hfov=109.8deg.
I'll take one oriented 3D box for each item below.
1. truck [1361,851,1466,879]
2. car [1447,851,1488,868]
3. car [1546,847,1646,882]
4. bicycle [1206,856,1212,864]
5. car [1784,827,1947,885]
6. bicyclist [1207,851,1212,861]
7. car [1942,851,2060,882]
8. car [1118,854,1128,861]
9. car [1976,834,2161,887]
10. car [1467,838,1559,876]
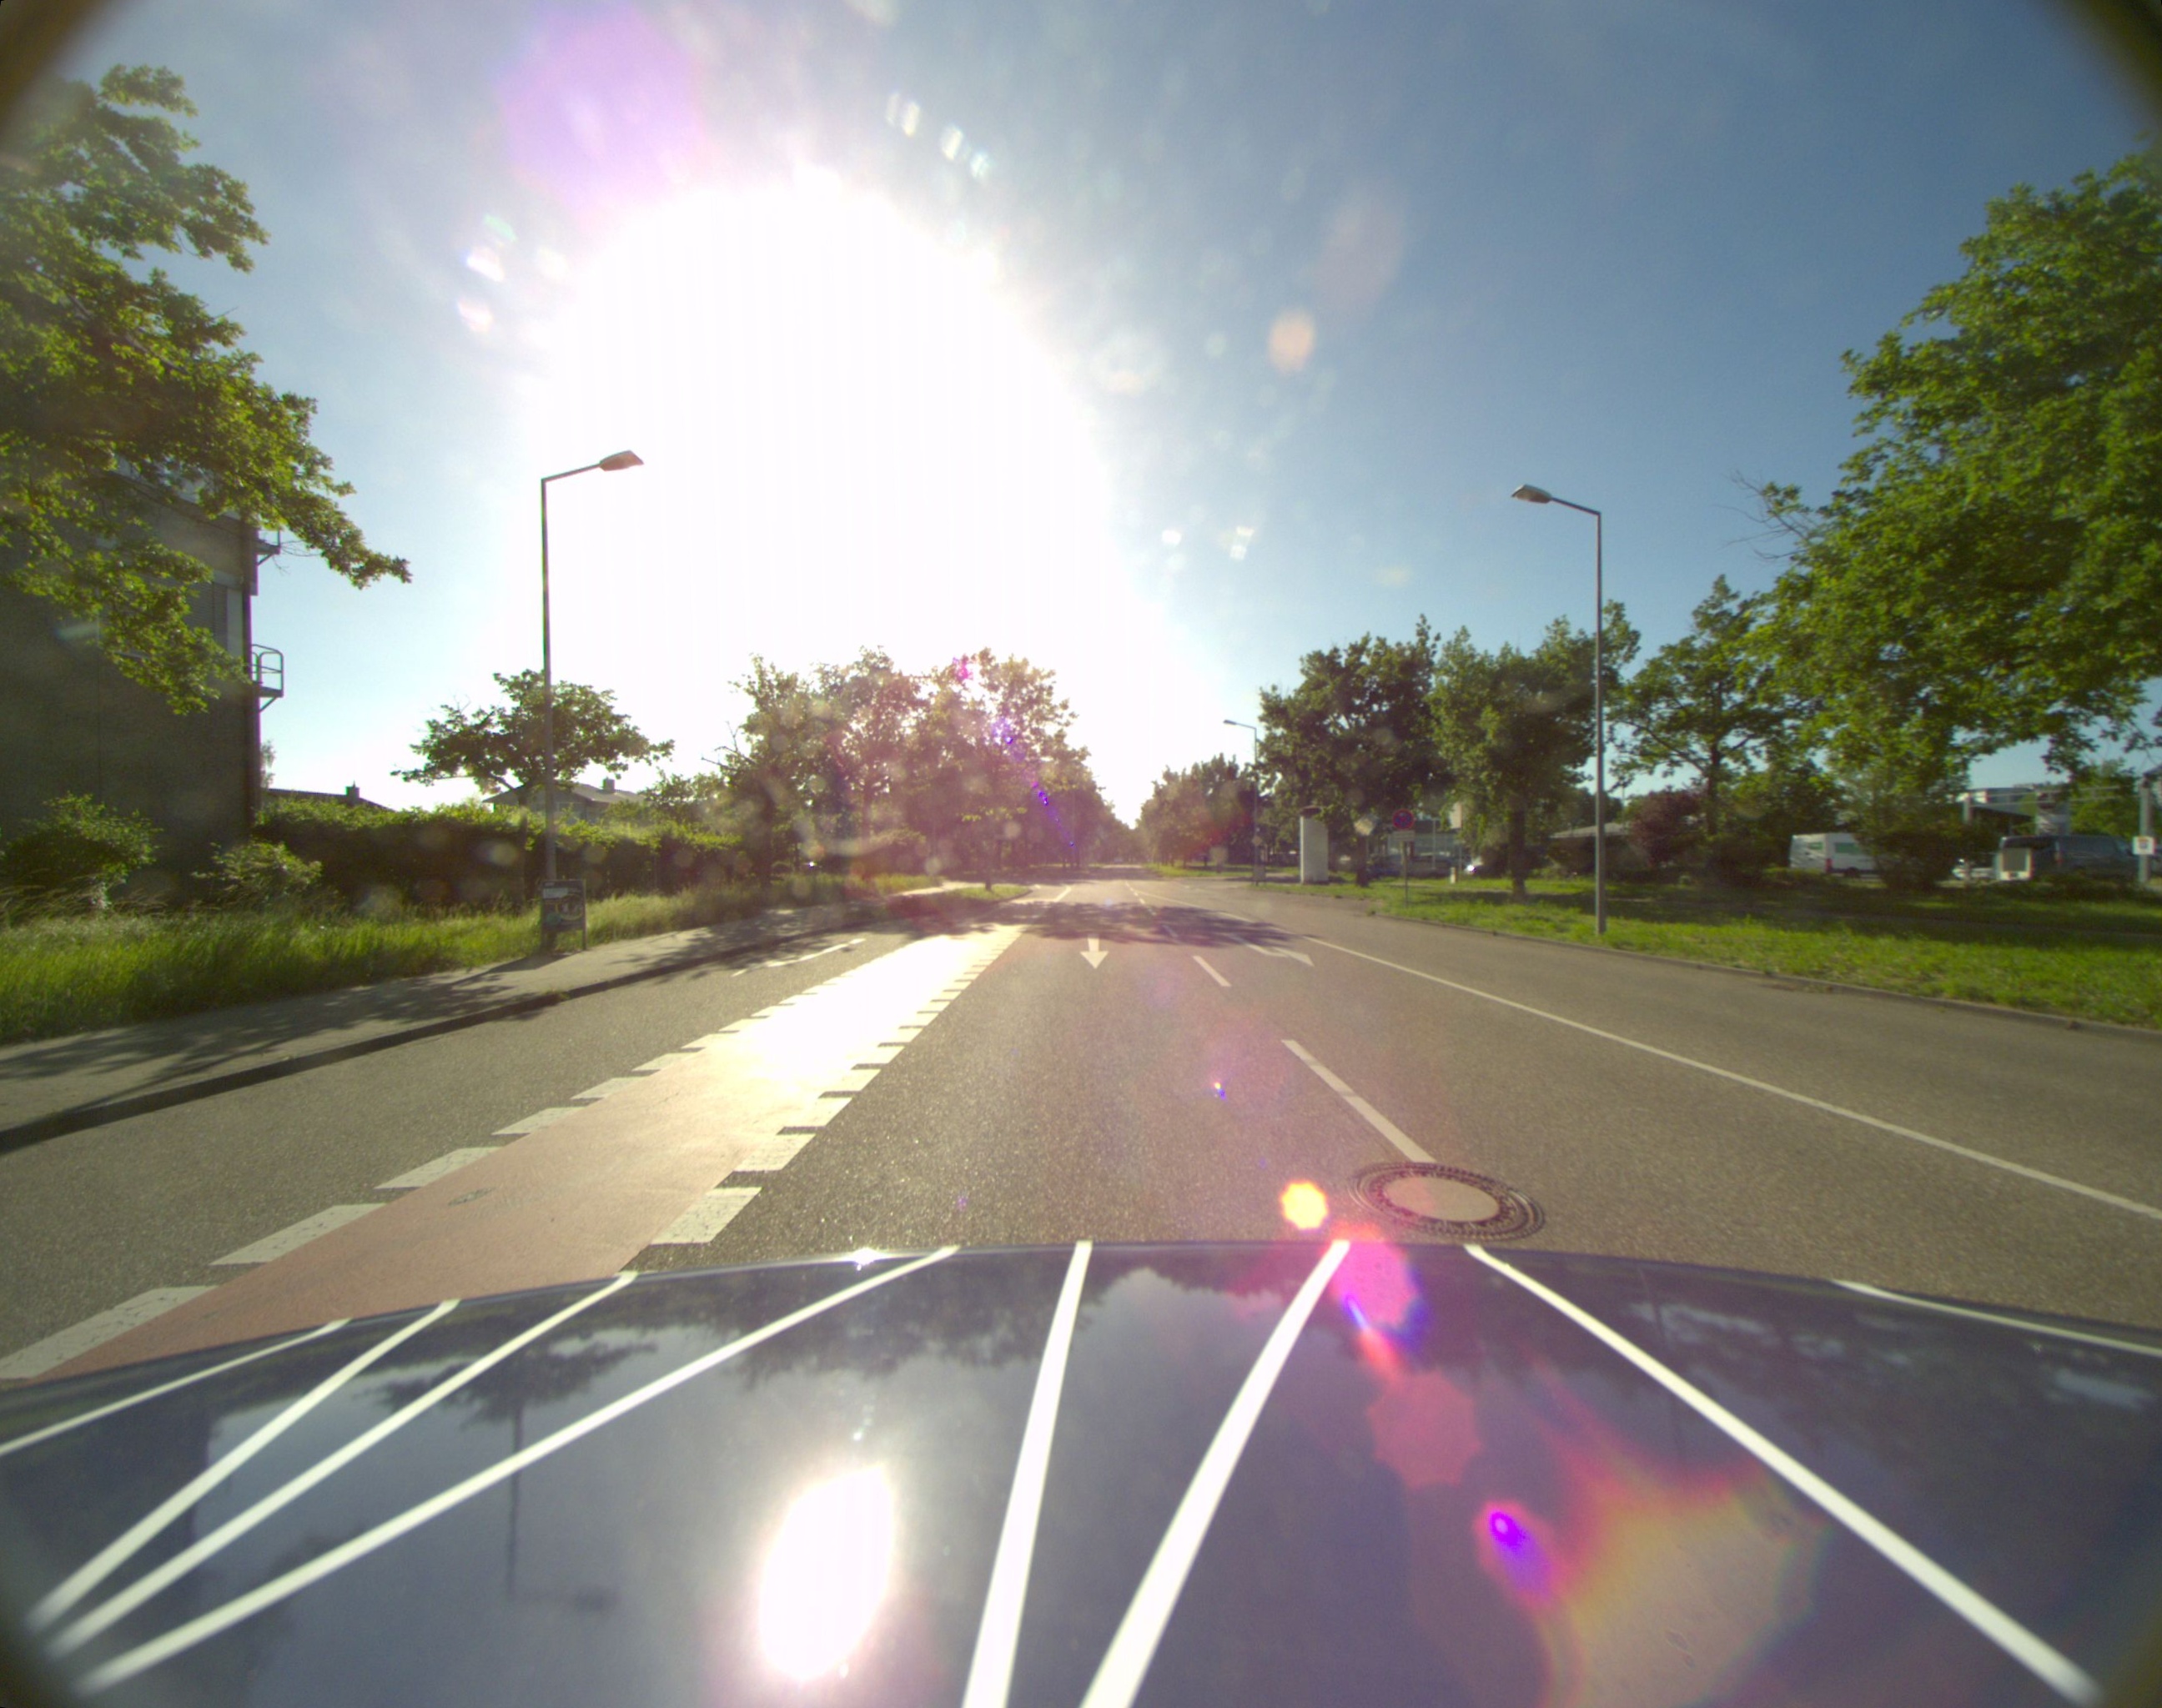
[{"bbox_3d":[25.432,0.831,58.233,7.130,2.038,2.140,0,1,-2],"label":"truck"},{"bbox_3d":[39.752,0.561,78.274,1.998,1.486,4.296,-2,2,0],"label":"car"},{"bbox_3d":[40.044,0.796,59.186,6.356,2.501,2.300,-2,1,-3],"label":"car"},{"bbox_3d":[19.949,0.896,118.416,0.552,1.155,2.334,-2,1,3],"label":"bicycle"},{"bbox_3d":[40.049,0.070,38.874,6.176,2.687,2.300,-2,1,-3],"label":"car"},{"bbox_3d":[19.949,0.313,118.247,0.665,1.619,0.659,-2,1,3],"label":"bicyclist"},{"bbox_3d":[41.140,0.554,34.023,3.532,1.294,1.574,-1,0,-2],"label":"car"},{"bbox_3d":[8.873,0.708,161.415,1.827,1.477,3.999,-2,1,1],"label":"car"},{"bbox_3d":[40.483,0.247,30.996,5.424,2.058,2.300,0,0,-3],"label":"car"},{"bbox_3d":[33.322,0.223,58.711,5.878,2.687,2.300,-2,1,-3],"label":"car"}]
